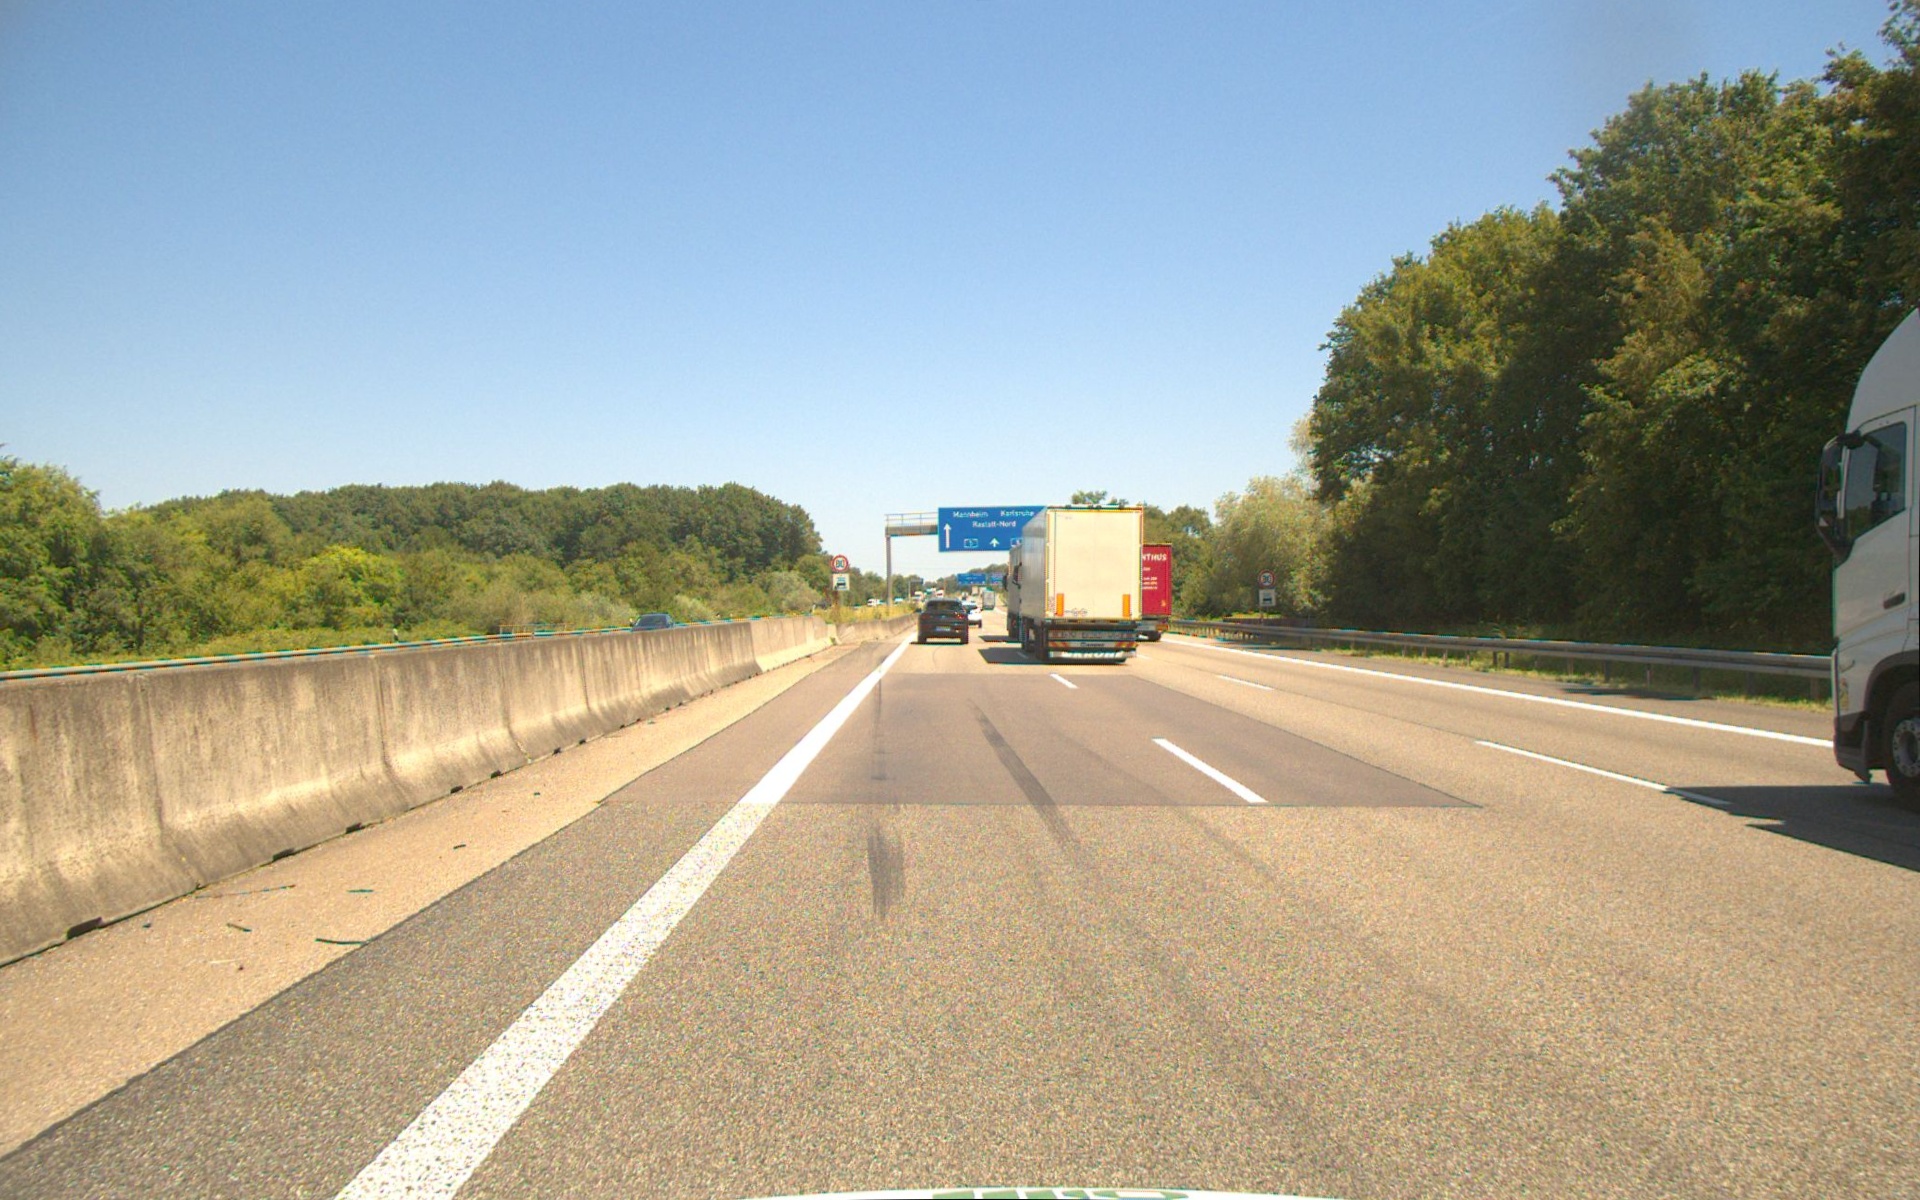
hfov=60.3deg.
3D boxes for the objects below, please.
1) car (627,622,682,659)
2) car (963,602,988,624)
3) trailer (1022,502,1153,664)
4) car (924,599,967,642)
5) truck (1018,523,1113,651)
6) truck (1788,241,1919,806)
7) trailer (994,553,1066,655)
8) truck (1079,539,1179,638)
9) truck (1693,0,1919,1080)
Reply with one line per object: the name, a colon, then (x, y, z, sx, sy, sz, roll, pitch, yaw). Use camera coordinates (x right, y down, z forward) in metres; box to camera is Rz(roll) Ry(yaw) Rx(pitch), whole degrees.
car: (-13.774, 1.808, 74.707, 1.734, 1.497, 3.999, -2, 0, -1)
car: (1.056, 0.871, 112.514, 1.704, 1.512, 4.000, 0, 0, 0)
trailer: (3.486, -0.424, 48.431, 2.738, 4.106, 12.565, 0, 0, -1)
car: (-0.582, 0.774, 63.949, 1.626, 1.576, 3.782, 0, 0, -1)
truck: (3.435, -0.406, 55.421, 2.743, 4.077, 6.019, 0, 0, -1)
truck: (8.555, -0.568, 8.648, 2.963, 4.164, 10.977, 0, 0, 0)
trailer: (2.980, 0.243, 74.274, 2.652, 4.139, 14.744, 0, -1, 0)
truck: (7.624, -0.469, 76.623, 2.993, 4.178, 13.214, 0, 0, -1)
truck: (4.367, -0.583, 3.446, 2.881, 4.055, 6.100, 0, 0, -1)
